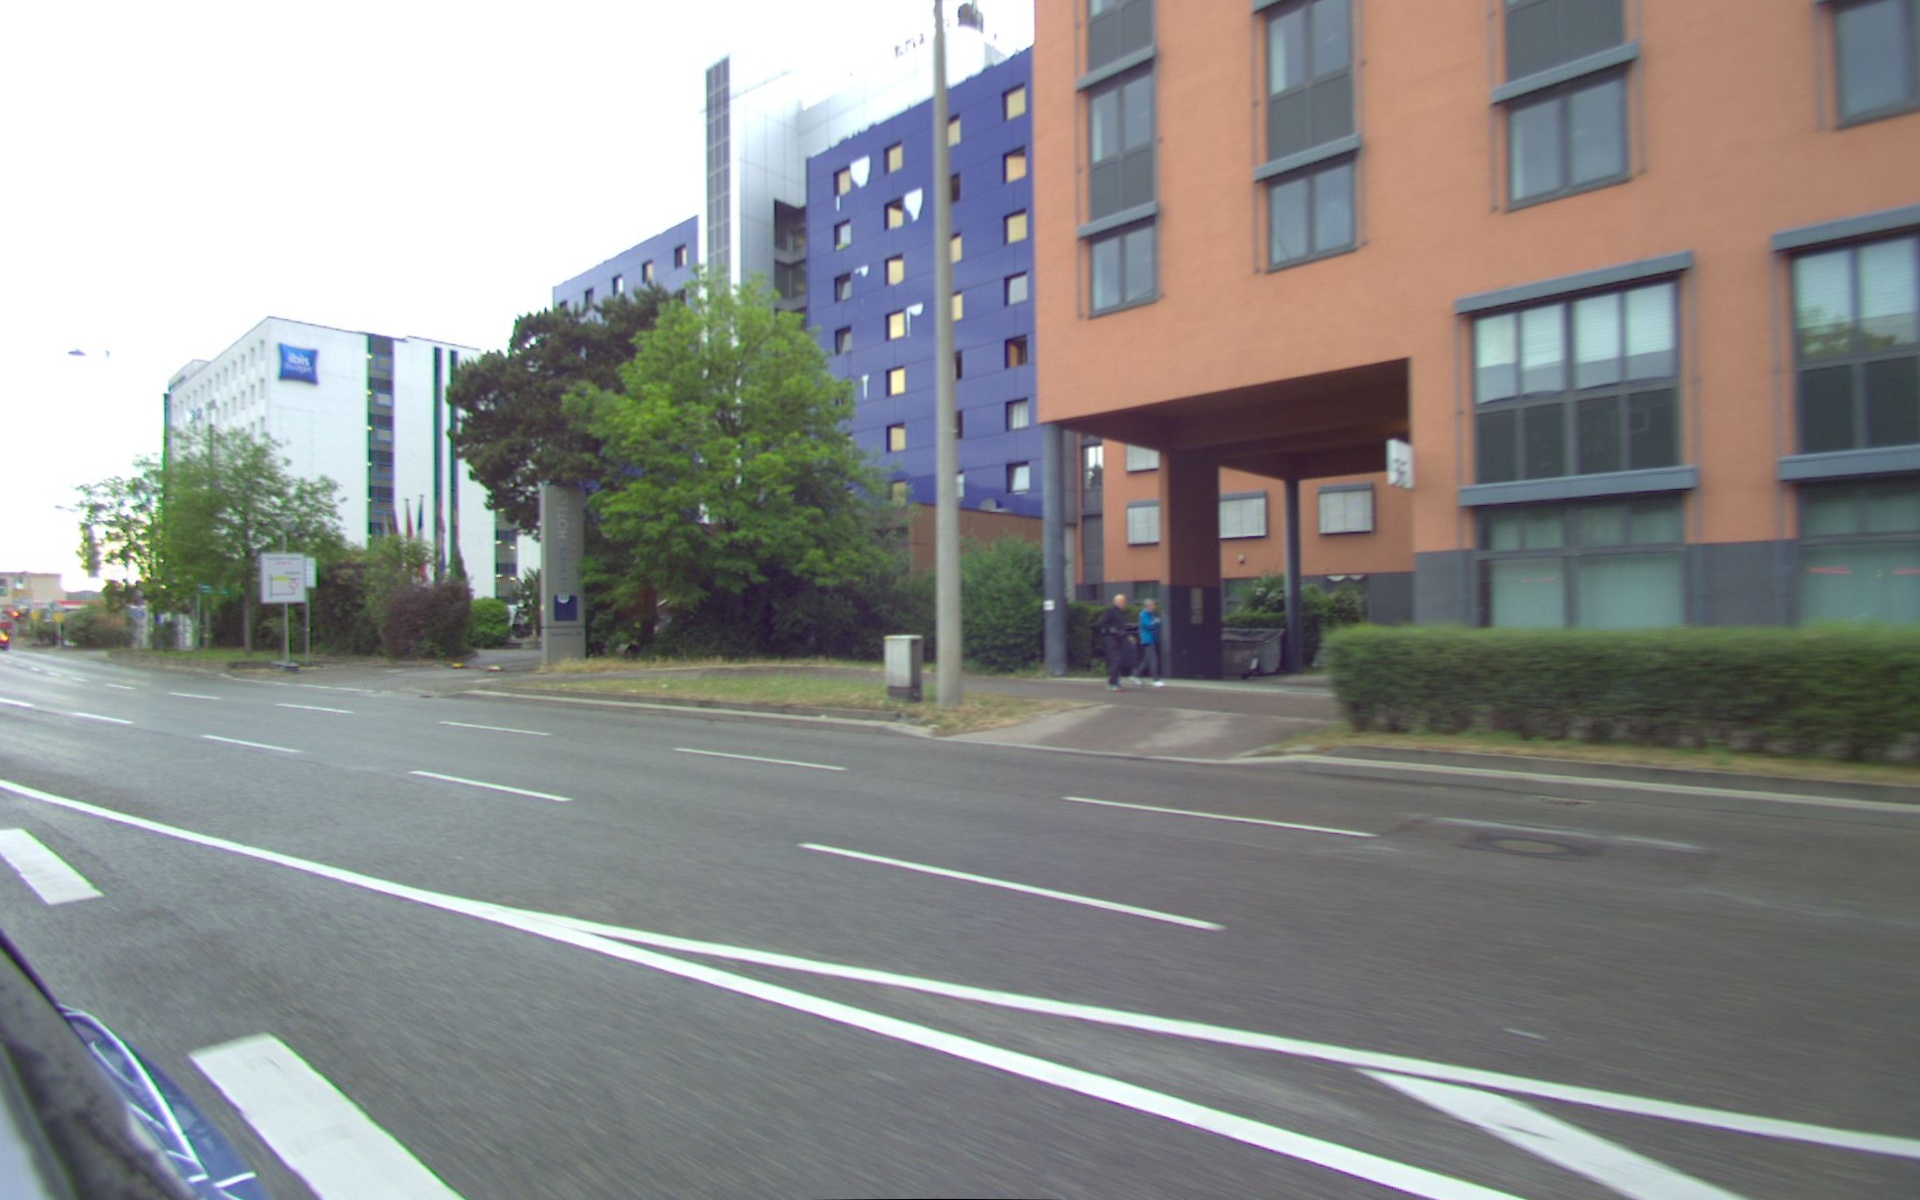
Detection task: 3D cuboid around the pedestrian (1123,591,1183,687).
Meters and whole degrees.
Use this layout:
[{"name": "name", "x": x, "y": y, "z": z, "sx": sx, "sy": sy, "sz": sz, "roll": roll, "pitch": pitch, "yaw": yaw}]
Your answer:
[{"name": "pedestrian", "x": 3.868, "y": 0.764, "z": 20.303, "sx": 0.885, "sy": 1.855, "sz": 0.738, "roll": -2, "pitch": -1, "yaw": 42}]

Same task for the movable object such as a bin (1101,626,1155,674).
[{"name": "movable object such as a bin", "x": 4.520, "y": 1.327, "z": 27.222, "sx": 1.208, "sy": 1.257, "sz": 0.772, "roll": -2, "pitch": -1, "yaw": 39}]

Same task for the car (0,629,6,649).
[{"name": "car", "x": -77.755, "y": 3.087, "z": 80.869, "sx": 3.998, "sy": 1.580, "sz": 1.744, "roll": -2, "pitch": -3, "yaw": 41}]

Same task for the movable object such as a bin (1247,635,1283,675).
[{"name": "movable object such as a bin", "x": 9.728, "y": 1.751, "z": 32.310, "sx": 0.673, "sy": 1.212, "sz": 1.194, "roll": -2, "pitch": -1, "yaw": 40}]

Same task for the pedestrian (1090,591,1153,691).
[{"name": "pedestrian", "x": 3.099, "y": 0.764, "z": 19.410, "sx": 0.885, "sy": 1.855, "sz": 0.738, "roll": -2, "pitch": -1, "yaw": 42}]

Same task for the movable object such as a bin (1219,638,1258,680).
[{"name": "movable object such as a bin", "x": 8.361, "y": 1.756, "z": 30.348, "sx": 0.673, "sy": 1.212, "sz": 1.194, "roll": -2, "pitch": -1, "yaw": 40}]

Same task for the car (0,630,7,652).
[{"name": "car", "x": -70.888, "y": 2.938, "z": 73.627, "sx": 3.997, "sy": 1.580, "sz": 1.744, "roll": -2, "pitch": -3, "yaw": 40}]
